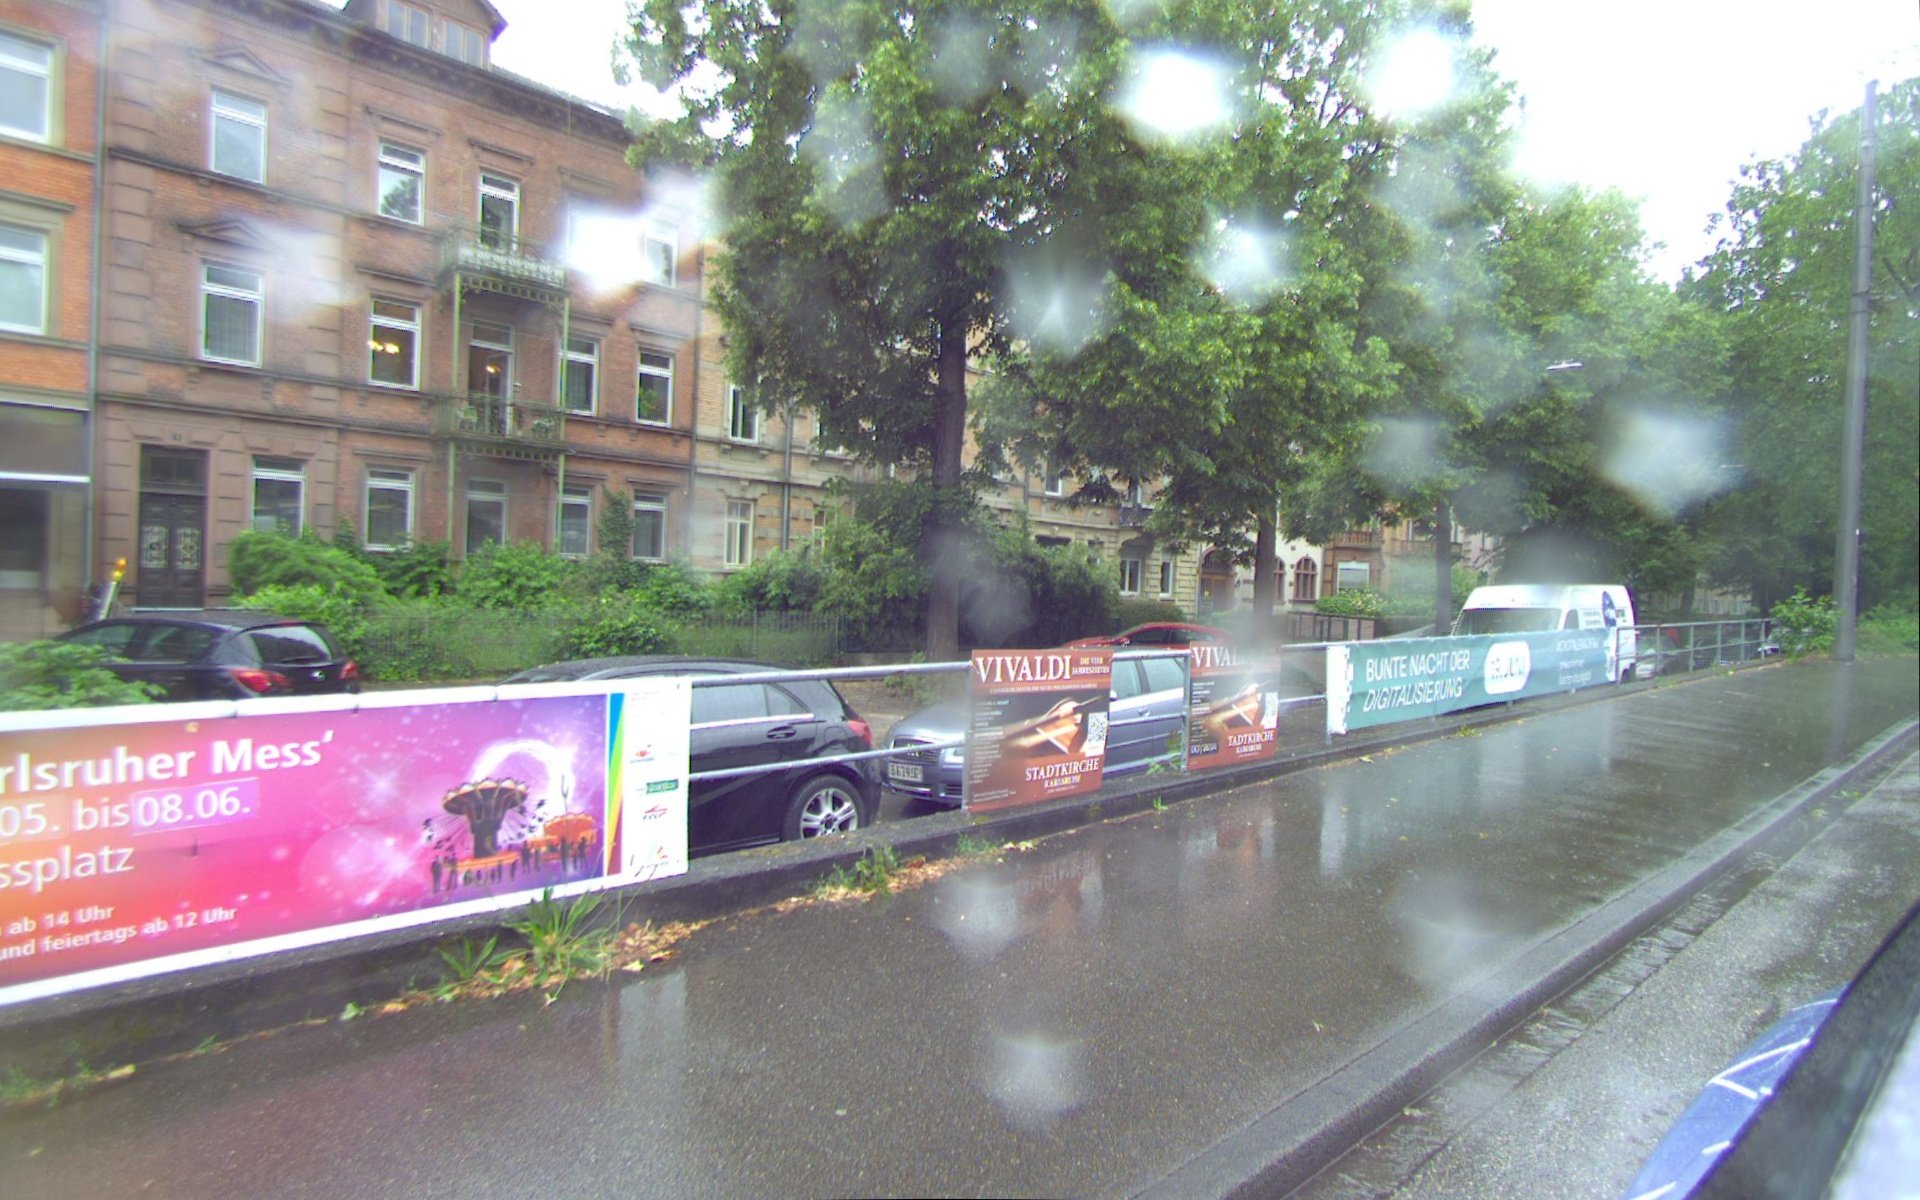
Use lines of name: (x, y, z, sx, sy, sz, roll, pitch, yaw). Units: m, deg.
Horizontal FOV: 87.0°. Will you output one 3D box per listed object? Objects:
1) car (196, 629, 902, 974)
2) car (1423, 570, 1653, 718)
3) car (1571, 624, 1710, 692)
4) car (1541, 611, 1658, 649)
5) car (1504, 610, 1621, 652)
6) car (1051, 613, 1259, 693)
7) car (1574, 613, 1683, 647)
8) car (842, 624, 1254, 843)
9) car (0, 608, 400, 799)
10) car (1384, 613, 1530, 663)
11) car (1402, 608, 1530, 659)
car: (-2.432, 0.972, 6.531, 3.903, 1.417, 1.706, 0, 1, -41)
car: (11.379, 0.716, 19.673, 6.055, 2.451, 2.211, 0, 0, -43)
car: (16.472, 1.335, 24.416, 4.312, 1.370, 1.968, 0, 0, -44)
car: (28.502, 1.316, 45.224, 3.942, 1.585, 1.991, 0, 1, 15)
car: (25.611, 1.294, 43.175, 3.948, 1.629, 1.815, 0, 0, 19)
car: (4.405, 1.133, 22.738, 4.372, 1.471, 1.888, 2, 1, 18)
car: (32.093, 1.431, 48.731, 3.942, 1.482, 1.904, 0, 1, 15)
car: (0.995, 1.068, 9.773, 4.006, 1.559, 1.734, 0, 0, -43)
car: (-8.537, 0.992, 11.141, 3.944, 1.735, 1.990, 0, 0, 16)
car: (16.529, 1.243, 33.896, 4.214, 1.397, 1.679, 2, 2, 22)
car: (17.930, 1.152, 36.040, 3.958, 1.523, 1.645, 2, 2, 25)
